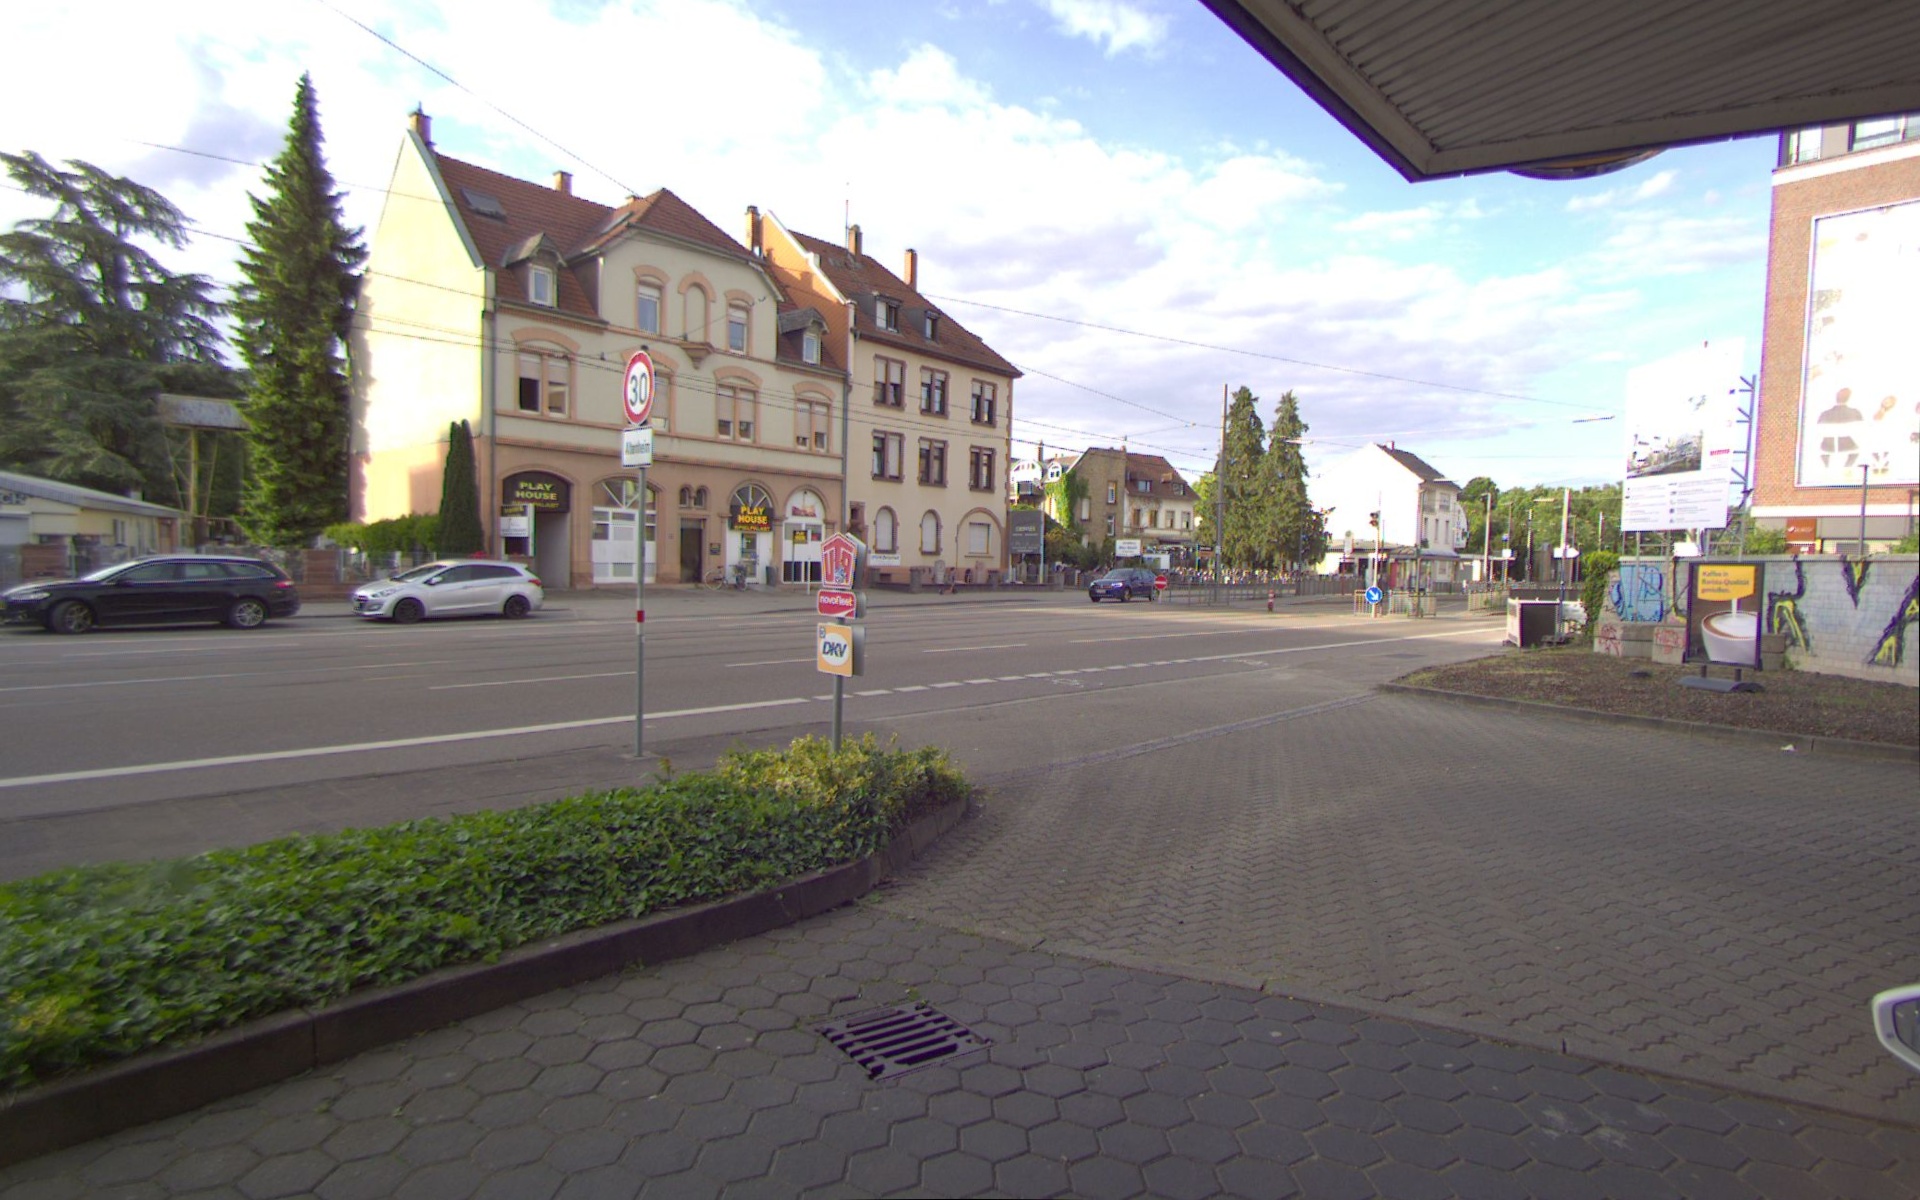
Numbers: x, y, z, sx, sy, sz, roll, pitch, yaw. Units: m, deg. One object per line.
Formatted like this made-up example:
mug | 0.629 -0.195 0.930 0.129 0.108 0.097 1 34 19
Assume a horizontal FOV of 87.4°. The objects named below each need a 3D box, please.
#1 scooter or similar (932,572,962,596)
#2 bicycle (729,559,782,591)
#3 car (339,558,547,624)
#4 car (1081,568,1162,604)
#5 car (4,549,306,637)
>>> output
scooter or similar | -0.578 -0.714 45.085 0.437 1.006 1.460 6 5 41
bicycle | -8.259 -1.000 40.619 0.741 1.219 2.011 8 5 41
car | -12.940 -0.249 25.347 1.718 1.502 4.357 3 2 41
car | 7.292 -0.657 45.087 1.834 1.489 4.122 3 3 37
car | -16.498 -0.173 20.809 1.827 1.542 4.642 5 4 40
